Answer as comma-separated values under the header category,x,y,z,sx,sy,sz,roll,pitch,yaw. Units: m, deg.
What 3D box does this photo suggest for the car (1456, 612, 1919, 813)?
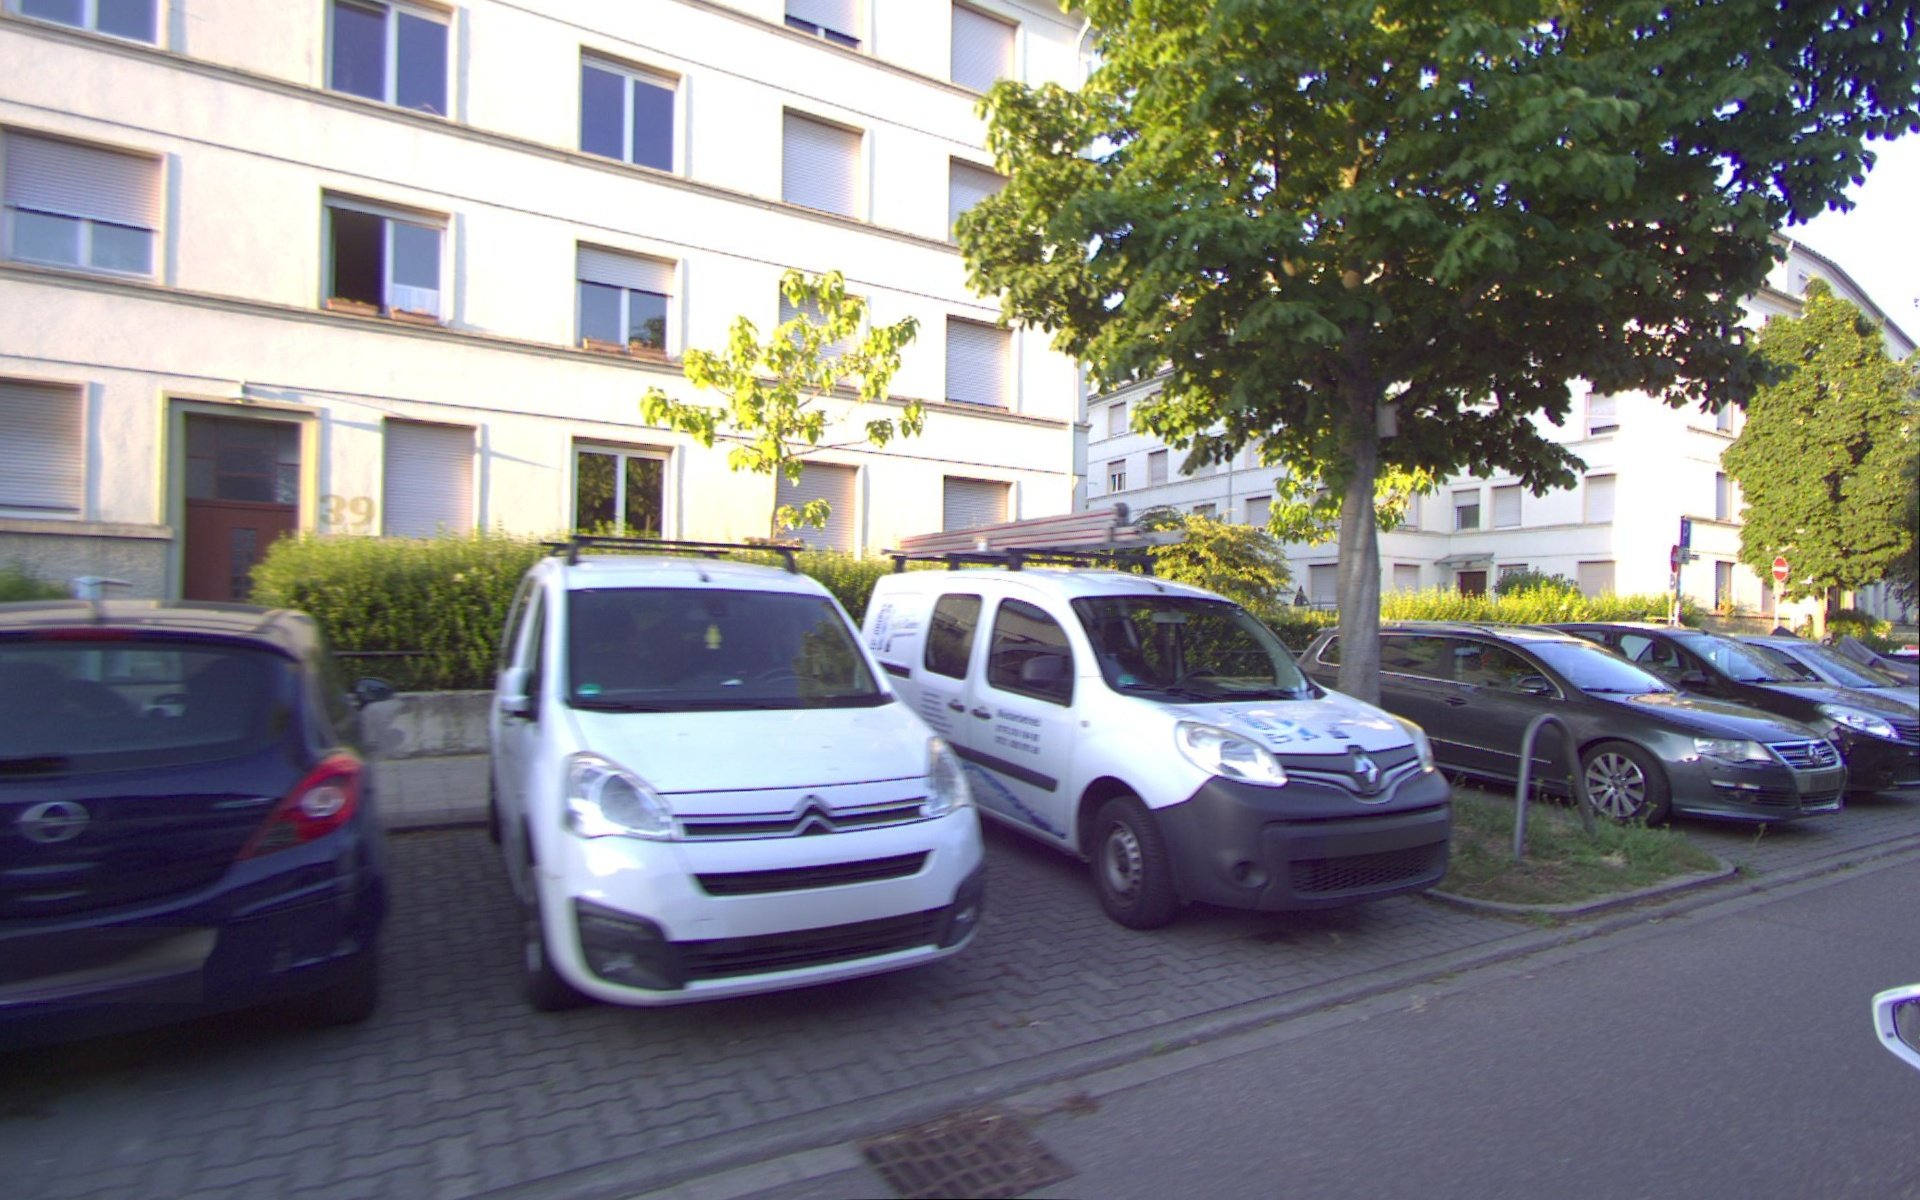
category,x,y,z,sx,sy,sz,roll,pitch,yaw
car,7.410,0.950,10.273,1.706,1.604,3.973,2,-1,-27

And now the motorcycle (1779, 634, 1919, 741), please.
category,x,y,z,sx,sy,sz,roll,pitch,yaw
motorcycle,13.445,1.249,14.649,0.763,1.455,2.224,2,-1,-26

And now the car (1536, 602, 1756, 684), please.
category,x,y,z,sx,sy,sz,roll,pitch,yaw
car,18.463,1.099,27.264,1.976,2.040,4.556,2,-1,-30

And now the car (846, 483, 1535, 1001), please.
category,x,y,z,sx,sy,sz,roll,pitch,yaw
car,0.931,0.498,6.513,1.973,2.098,4.498,0,2,-25

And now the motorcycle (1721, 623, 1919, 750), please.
category,x,y,z,sx,sy,sz,roll,pitch,yaw
motorcycle,12.165,1.150,14.132,0.763,1.603,2.224,2,-1,-26

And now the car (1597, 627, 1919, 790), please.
category,x,y,z,sx,sy,sz,roll,pitch,yaw
car,9.502,1.111,11.221,1.668,1.526,3.700,2,-1,-27

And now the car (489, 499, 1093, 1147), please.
category,x,y,z,sx,sy,sz,roll,pitch,yaw
car,-1.350,0.604,5.235,1.918,1.826,4.406,1,1,-26

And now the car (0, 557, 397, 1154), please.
category,x,y,z,sx,sy,sz,roll,pitch,yaw
car,-3.492,0.631,4.401,1.734,1.504,3.968,1,2,-29

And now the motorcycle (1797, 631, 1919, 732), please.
category,x,y,z,sx,sy,sz,roll,pitch,yaw
motorcycle,14.365,1.230,15.264,0.869,1.455,2.375,2,-1,-26

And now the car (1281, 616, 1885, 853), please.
category,x,y,z,sx,sy,sz,roll,pitch,yaw
car,5.182,0.963,9.090,1.828,1.424,4.310,2,1,-27

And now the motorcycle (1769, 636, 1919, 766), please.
category,x,y,z,sx,sy,sz,roll,pitch,yaw
motorcycle,11.097,1.192,12.107,0.714,1.455,1.974,2,-1,-33
